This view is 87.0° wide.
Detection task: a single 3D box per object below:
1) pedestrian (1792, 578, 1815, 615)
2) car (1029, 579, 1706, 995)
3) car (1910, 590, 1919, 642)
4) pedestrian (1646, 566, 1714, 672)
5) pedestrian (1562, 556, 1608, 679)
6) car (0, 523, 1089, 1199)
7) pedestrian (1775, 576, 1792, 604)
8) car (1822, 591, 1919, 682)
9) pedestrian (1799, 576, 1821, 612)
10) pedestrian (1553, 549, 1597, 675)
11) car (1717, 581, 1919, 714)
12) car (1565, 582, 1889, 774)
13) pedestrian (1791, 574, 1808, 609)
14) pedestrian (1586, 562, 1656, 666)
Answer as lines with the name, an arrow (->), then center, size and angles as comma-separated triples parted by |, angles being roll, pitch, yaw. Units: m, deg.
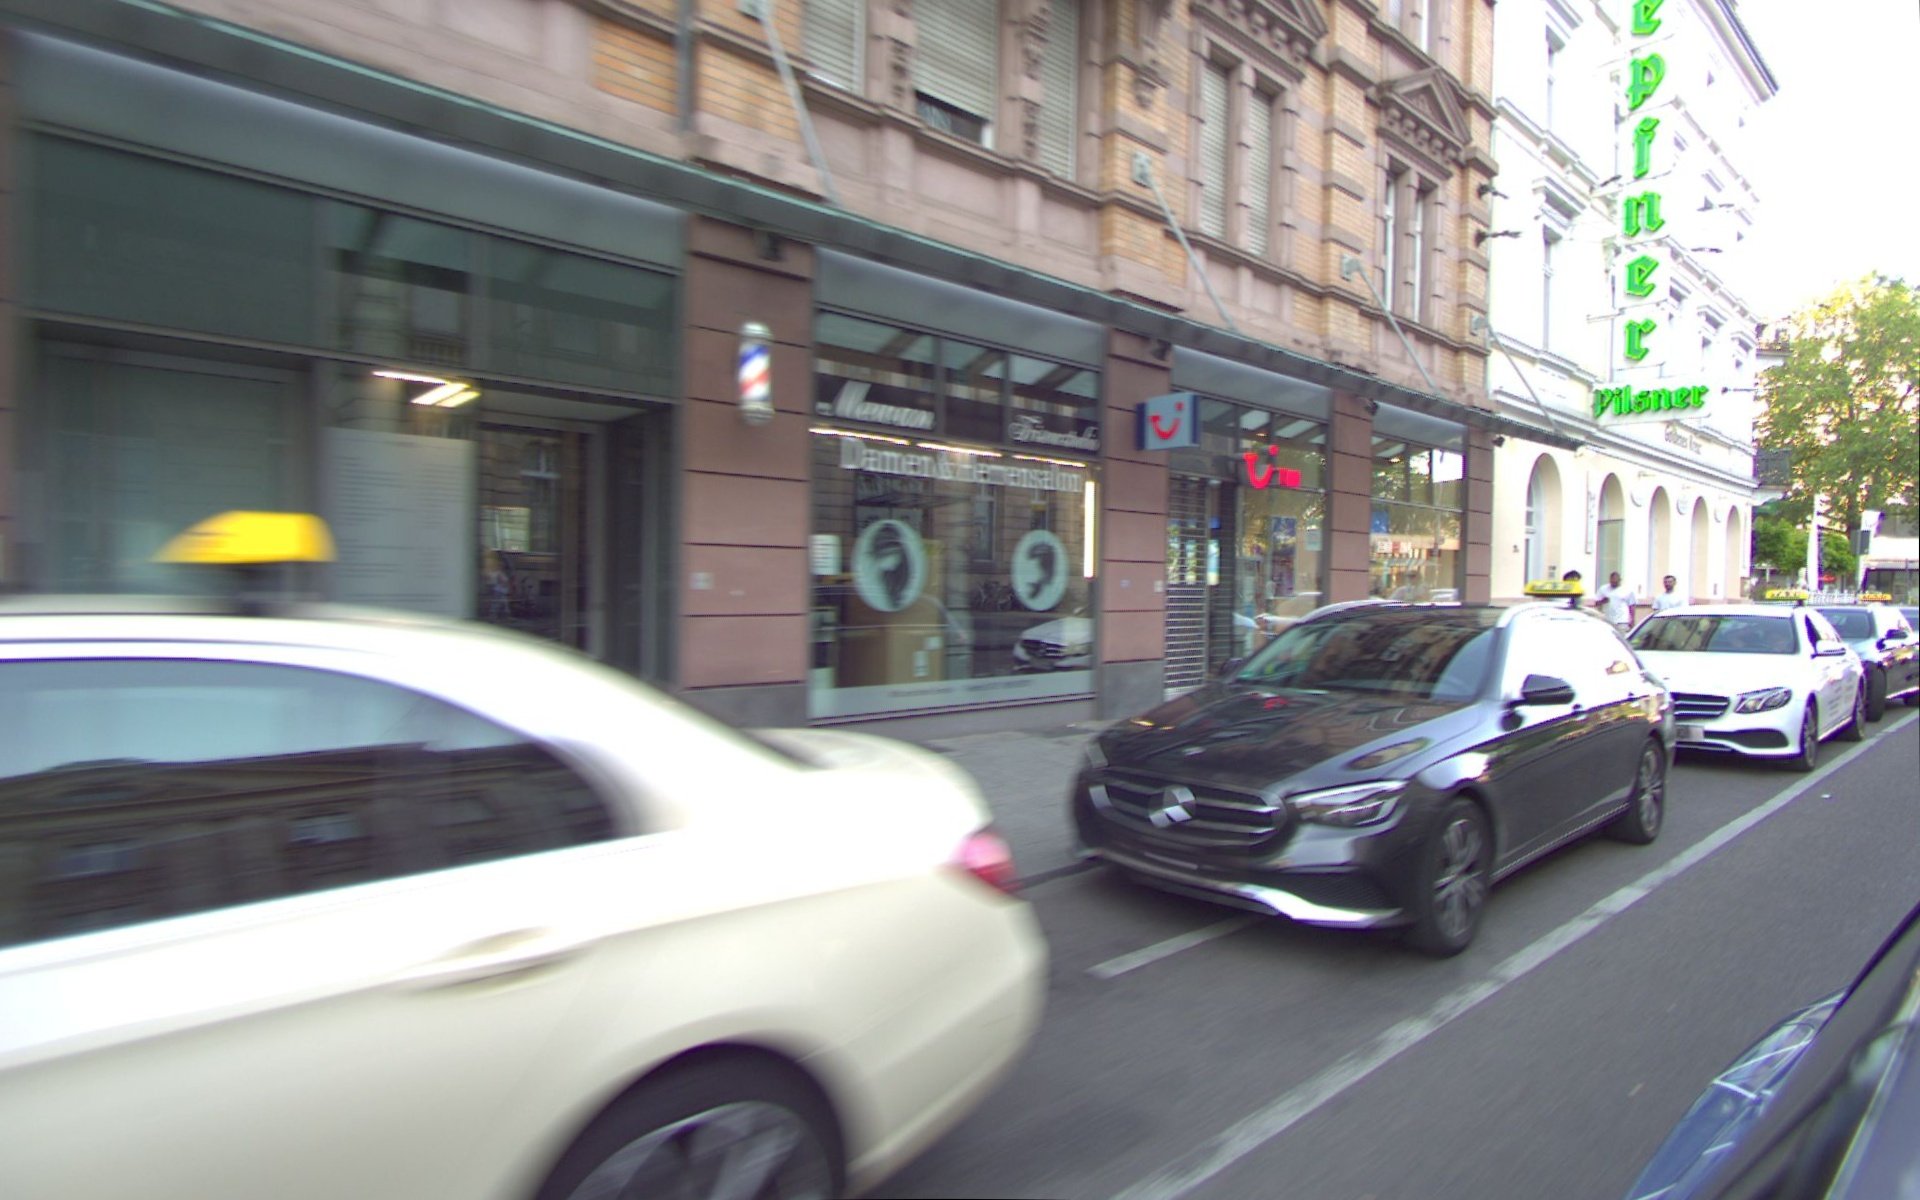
pedestrian -> 30.093, -0.141, 36.111 | 0.482, 1.312, 0.531 | 0, 1, -41
car -> 2.674, 0.641, 5.878 | 4.737, 1.495, 1.728 | -1, 0, -42
car -> 28.546, 0.449, 28.841 | 4.469, 1.407, 1.700 | -1, 4, -42
pedestrian -> 12.015, 0.311, 16.907 | 0.476, 1.709, 0.623 | 2, 4, -24
pedestrian -> 9.408, 0.252, 15.227 | 0.653, 1.790, 0.373 | 0, 3, -45
car -> -2.043, 0.674, 1.527 | 4.695, 1.502, 1.808 | 0, -1, -42
pedestrian -> 38.583, -0.465, 47.401 | 0.482, 1.313, 0.531 | 0, 1, -41
car -> 17.541, 0.596, 18.733 | 4.612, 1.494, 1.808 | -1, 1, -42
pedestrian -> 31.671, -0.232, 37.711 | 0.528, 1.312, 0.485 | 1, 0, 34
pedestrian -> 8.984, 0.162, 14.776 | 0.448, 1.790, 0.373 | 0, 3, -45
car -> 12.436, 0.558, 14.265 | 4.361, 1.610, 1.737 | -1, 0, -38
car -> 8.010, 0.609, 10.369 | 4.781, 1.530, 1.735 | -1, 0, -42
pedestrian -> 37.894, -0.393, 45.665 | 0.523, 1.578, 0.490 | 0, 0, -41
pedestrian -> 11.540, 0.232, 17.670 | 0.542, 1.709, 0.761 | 0, 5, -41
